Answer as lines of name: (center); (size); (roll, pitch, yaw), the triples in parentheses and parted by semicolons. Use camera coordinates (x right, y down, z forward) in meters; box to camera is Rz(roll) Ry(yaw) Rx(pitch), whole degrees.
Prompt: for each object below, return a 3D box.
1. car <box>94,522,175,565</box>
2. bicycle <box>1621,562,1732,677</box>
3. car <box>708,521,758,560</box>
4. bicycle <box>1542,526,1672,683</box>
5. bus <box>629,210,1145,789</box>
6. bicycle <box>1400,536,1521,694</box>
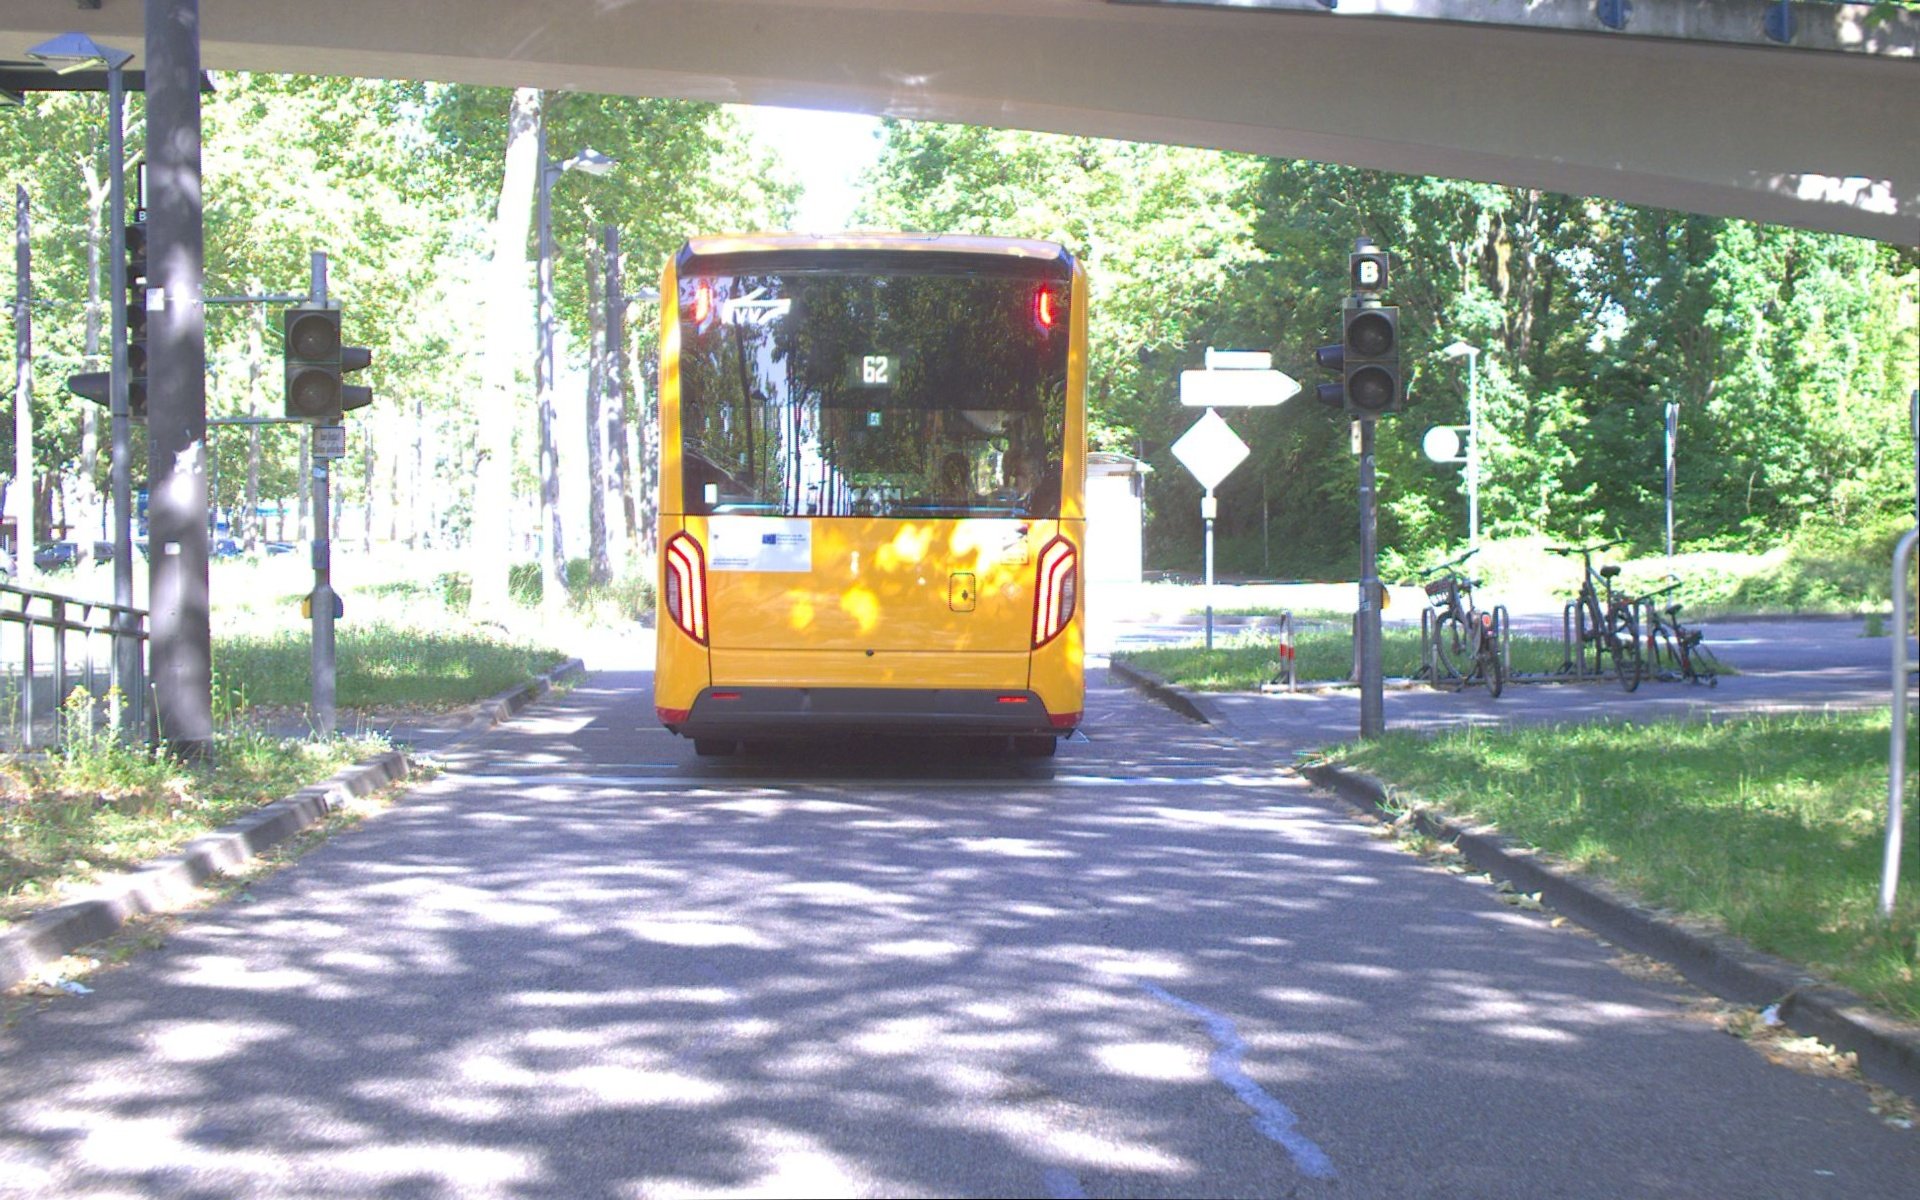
car: (-29.411, -2.033, 122.538); (1.794, 1.505, 4.000); (0, 1, 2)
bicycle: (5.846, 0.149, 28.105); (0.505, 0.849, 1.474); (-4, 2, -2)
car: (-10.472, -2.780, 159.073); (1.986, 1.637, 4.134); (2, 2, 0)
bicycle: (5.261, 0.015, 28.033); (0.590, 1.178, 1.800); (-4, 2, -2)
bus: (-0.652, -0.704, 25.563); (2.899, 3.255, 12.219); (0, 1, -2)
bicycle: (4.067, 0.102, 28.033); (0.590, 1.178, 1.800); (-4, 2, -2)
